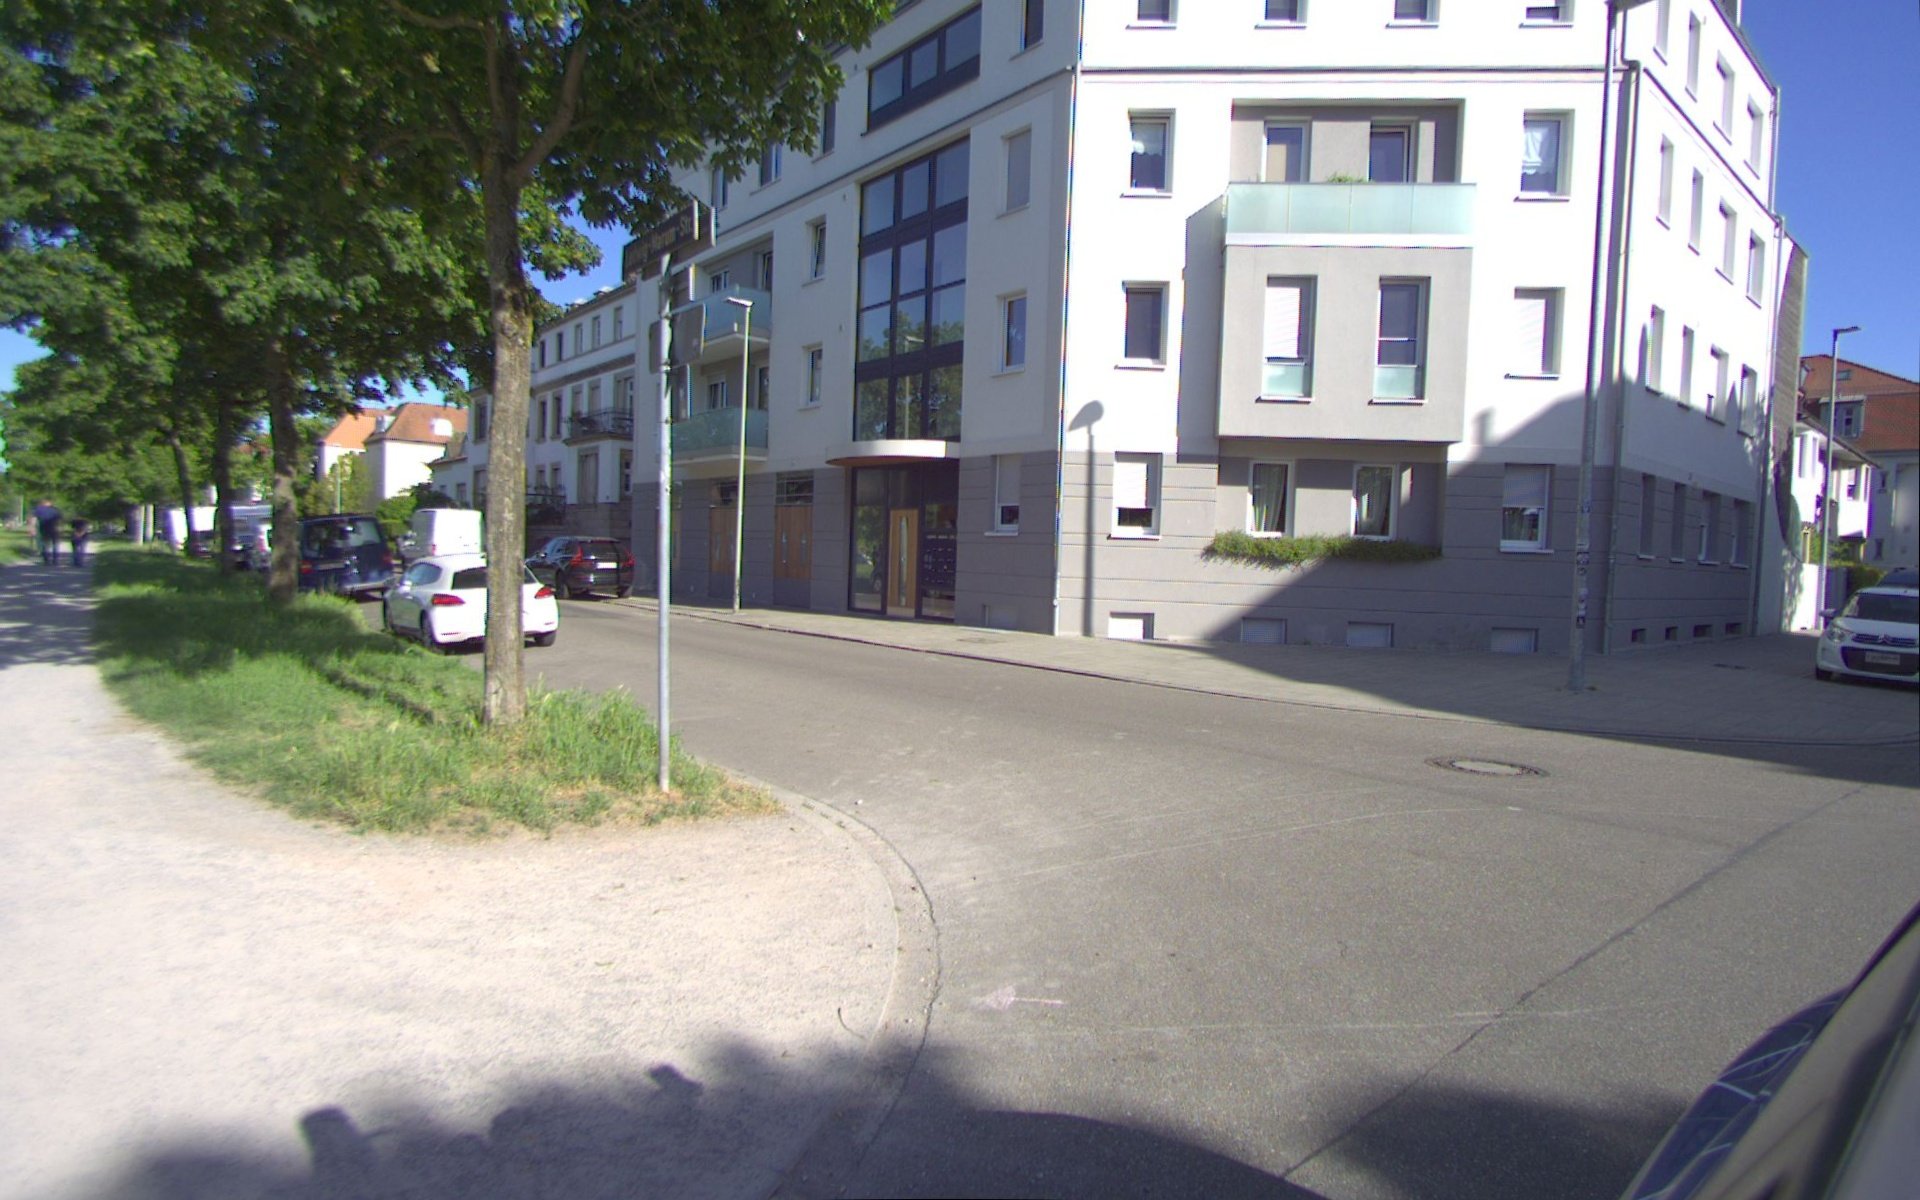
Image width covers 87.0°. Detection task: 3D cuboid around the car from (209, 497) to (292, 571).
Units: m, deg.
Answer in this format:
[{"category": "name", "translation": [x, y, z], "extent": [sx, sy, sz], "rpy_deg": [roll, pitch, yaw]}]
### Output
[{"category": "car", "translation": [-27.330, -2.579, 38.918], "extent": [2.155, 2.614, 4.285], "rpy_deg": [-5, 7, -39]}]

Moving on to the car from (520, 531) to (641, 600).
[{"category": "car", "translation": [-10.532, -1.010, 27.896], "extent": [1.863, 1.703, 4.286], "rpy_deg": [-2, 4, -39]}]

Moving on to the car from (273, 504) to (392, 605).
[{"category": "car", "translation": [-14.685, -1.138, 23.589], "extent": [1.753, 2.108, 3.992], "rpy_deg": [-5, 7, -39]}]

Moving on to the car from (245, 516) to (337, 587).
[{"category": "car", "translation": [-19.824, -1.501, 29.914], "extent": [1.843, 1.905, 4.423], "rpy_deg": [-5, 7, -38]}]

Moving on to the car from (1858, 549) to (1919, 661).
[{"category": "car", "translation": [18.008, 0.105, 18.511], "extent": [4.182, 1.857, 1.666], "rpy_deg": [0, 6, -41]}]

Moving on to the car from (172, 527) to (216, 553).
[{"category": "car", "translation": [-44.245, -3.486, 58.418], "extent": [1.900, 1.361, 4.107], "rpy_deg": [0, 3, -39]}]

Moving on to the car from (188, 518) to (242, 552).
[{"category": "car", "translation": [-38.689, -3.396, 52.540], "extent": [2.048, 1.618, 4.285], "rpy_deg": [0, 3, -39]}]

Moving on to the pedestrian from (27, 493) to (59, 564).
[{"category": "pedestrian", "translation": [-25.182, -1.947, 27.796], "extent": [0.633, 1.899, 0.628], "rpy_deg": [0, 3, -42]}]

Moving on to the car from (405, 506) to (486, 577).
[{"category": "car", "translation": [-19.796, -2.277, 38.888], "extent": [1.987, 2.579, 3.992], "rpy_deg": [-2, 4, -39]}]

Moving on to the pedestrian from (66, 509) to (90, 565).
[{"category": "pedestrian", "translation": [-24.562, -1.753, 28.200], "extent": [0.488, 1.523, 0.534], "rpy_deg": [0, 3, -40]}]

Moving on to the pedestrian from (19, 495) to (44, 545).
[{"category": "pedestrian", "translation": [-36.218, -3.125, 39.481], "extent": [0.712, 1.899, 0.628], "rpy_deg": [0, 3, -42]}]

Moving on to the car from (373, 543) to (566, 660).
[{"category": "car", "translation": [-7.694, -0.099, 15.704], "extent": [1.710, 1.449, 3.991], "rpy_deg": [-5, 7, -40]}]

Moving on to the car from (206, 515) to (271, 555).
[{"category": "car", "translation": [-31.563, -2.841, 44.240], "extent": [2.048, 1.618, 4.285], "rpy_deg": [0, 3, -39]}]

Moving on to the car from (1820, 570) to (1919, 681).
[{"category": "car", "translation": [14.749, 0.367, 15.570], "extent": [3.624, 1.465, 1.665], "rpy_deg": [0, 6, -41]}]

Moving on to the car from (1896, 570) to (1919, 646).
[{"category": "car", "translation": [21.946, 0.228, 22.076], "extent": [3.995, 1.559, 1.666], "rpy_deg": [0, 6, -41]}]

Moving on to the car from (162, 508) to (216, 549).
[{"category": "car", "translation": [-48.210, -4.453, 63.208], "extent": [2.506, 2.362, 5.916], "rpy_deg": [0, 3, -39]}]
